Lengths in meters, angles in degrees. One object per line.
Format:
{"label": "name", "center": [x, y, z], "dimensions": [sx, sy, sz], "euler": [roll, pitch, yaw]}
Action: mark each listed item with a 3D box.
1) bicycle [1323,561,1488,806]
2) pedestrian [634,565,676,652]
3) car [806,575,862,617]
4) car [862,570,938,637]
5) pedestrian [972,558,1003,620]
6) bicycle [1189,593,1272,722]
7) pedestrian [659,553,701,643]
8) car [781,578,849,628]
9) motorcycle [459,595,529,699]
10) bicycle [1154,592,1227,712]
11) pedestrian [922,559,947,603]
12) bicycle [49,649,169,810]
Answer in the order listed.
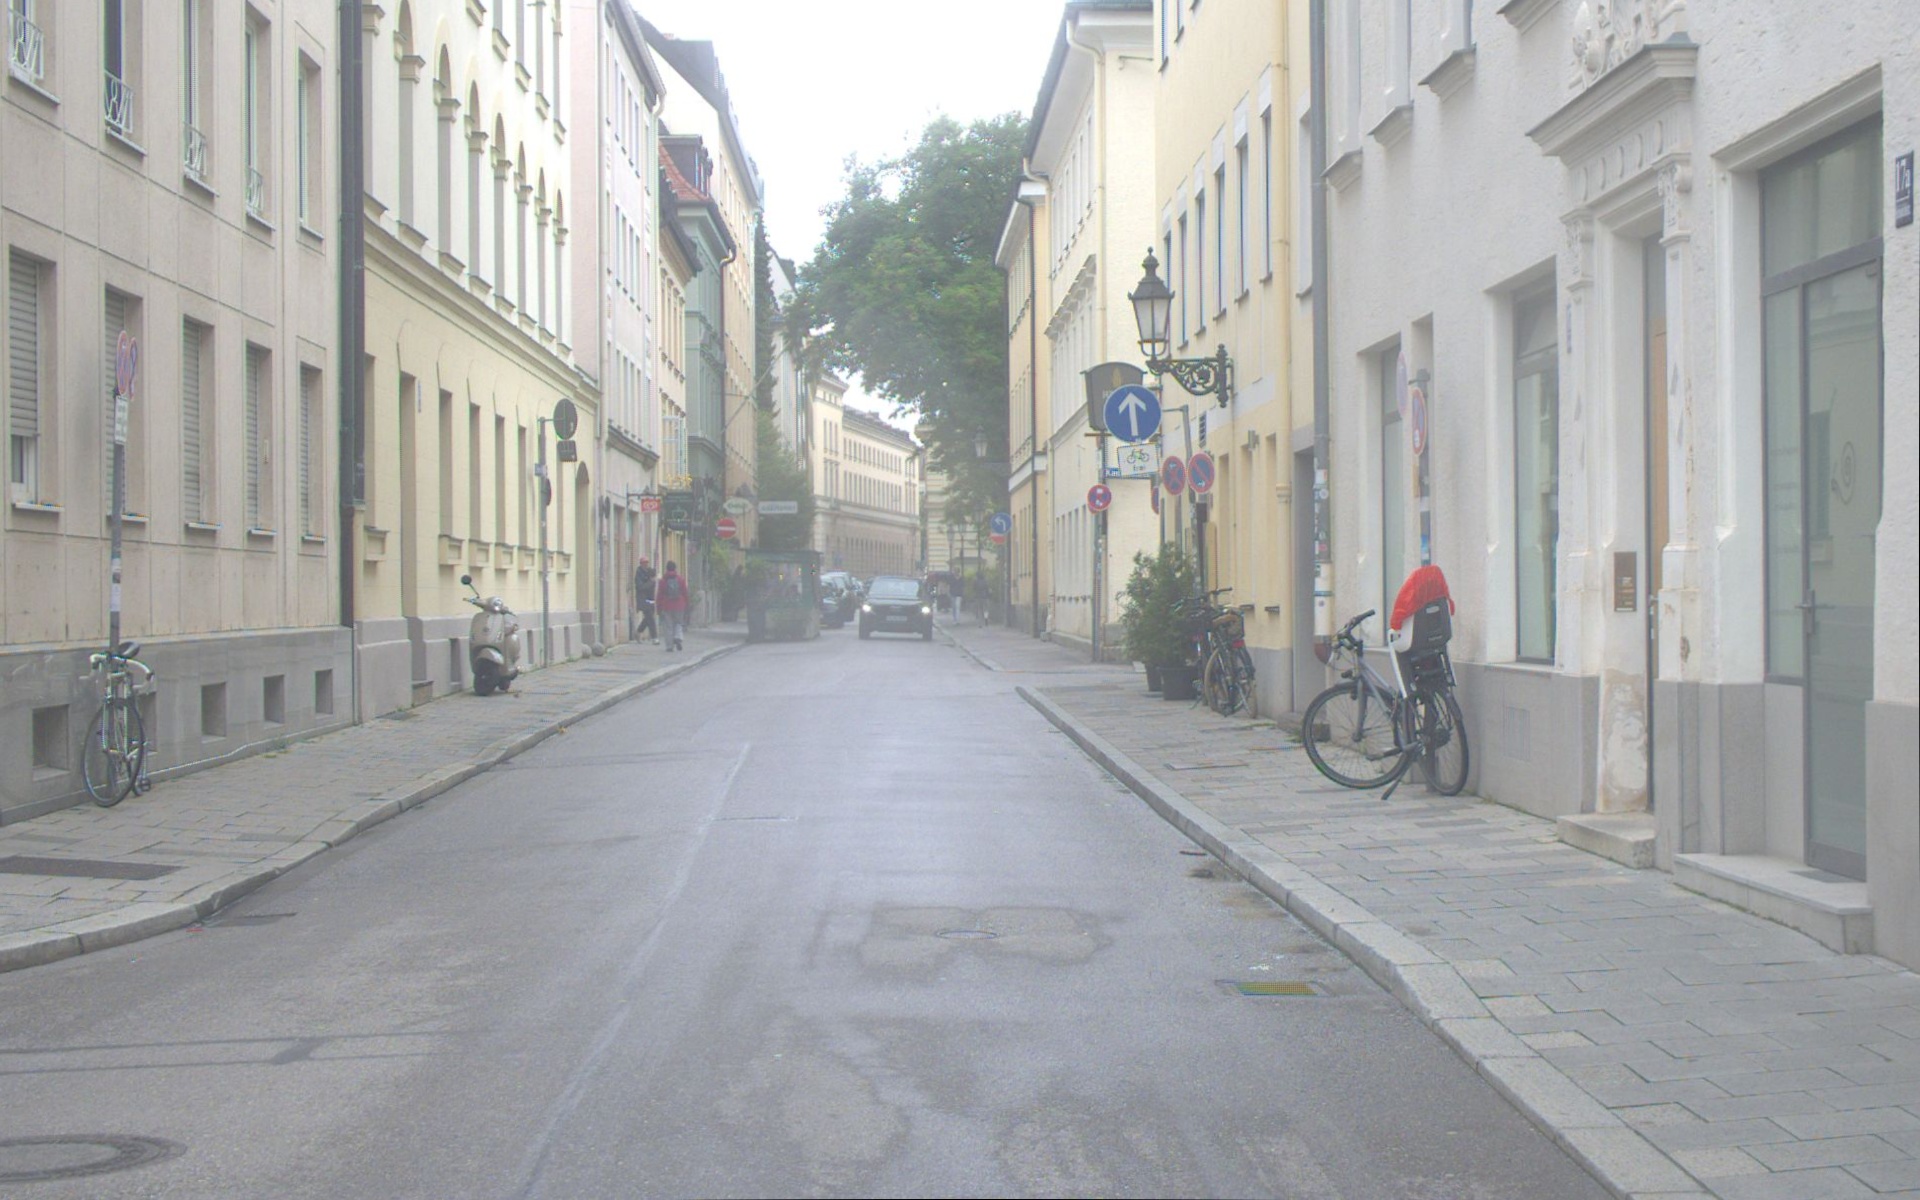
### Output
{"label": "bicycle", "center": [2.701, 0.476, 21.061], "dimensions": [0.713, 1.391, 2.122], "euler": [-3, 1, 1]}
{"label": "pedestrian", "center": [-6.220, 0.166, 70.212], "dimensions": [0.809, 1.749, 0.990], "euler": [0, 2, -3]}
{"label": "car", "center": [-4.520, -0.161, 123.509], "dimensions": [1.779, 1.461, 3.542], "euler": [1, 0, 2]}
{"label": "car", "center": [-1.473, 0.062, 84.269], "dimensions": [1.812, 1.588, 4.000], "euler": [0, 0, -1]}
{"label": "pedestrian", "center": [0.809, -0.331, 100.348], "dimensions": [0.880, 1.796, 1.046], "euler": [1, 0, 0]}
{"label": "bicycle", "center": [2.520, 0.520, 32.131], "dimensions": [0.565, 1.133, 1.988], "euler": [-2, 1, 0]}
{"label": "pedestrian", "center": [-5.359, -0.047, 65.739], "dimensions": [0.765, 1.702, 0.785], "euler": [-1, 0, -3]}
{"label": "car", "center": [-4.334, 0.086, 103.426], "dimensions": [1.779, 1.461, 3.662], "euler": [1, 0, 2]}
{"label": "motorcycle", "center": [-5.427, 0.540, 40.117], "dimensions": [0.602, 1.170, 1.708], "euler": [0, 0, -1]}
{"label": "bicycle", "center": [2.297, 0.503, 34.364], "dimensions": [0.565, 1.133, 1.684], "euler": [-2, 1, 0]}
{"label": "pedestrian", "center": [-1.071, -0.801, 143.588], "dimensions": [1.015, 1.796, 1.349], "euler": [1, 0, 0]}
{"label": "bicycle", "center": [-5.406, 0.807, 21.888], "dimensions": [0.320, 0.940, 1.574], "euler": [3, 0, 1]}
